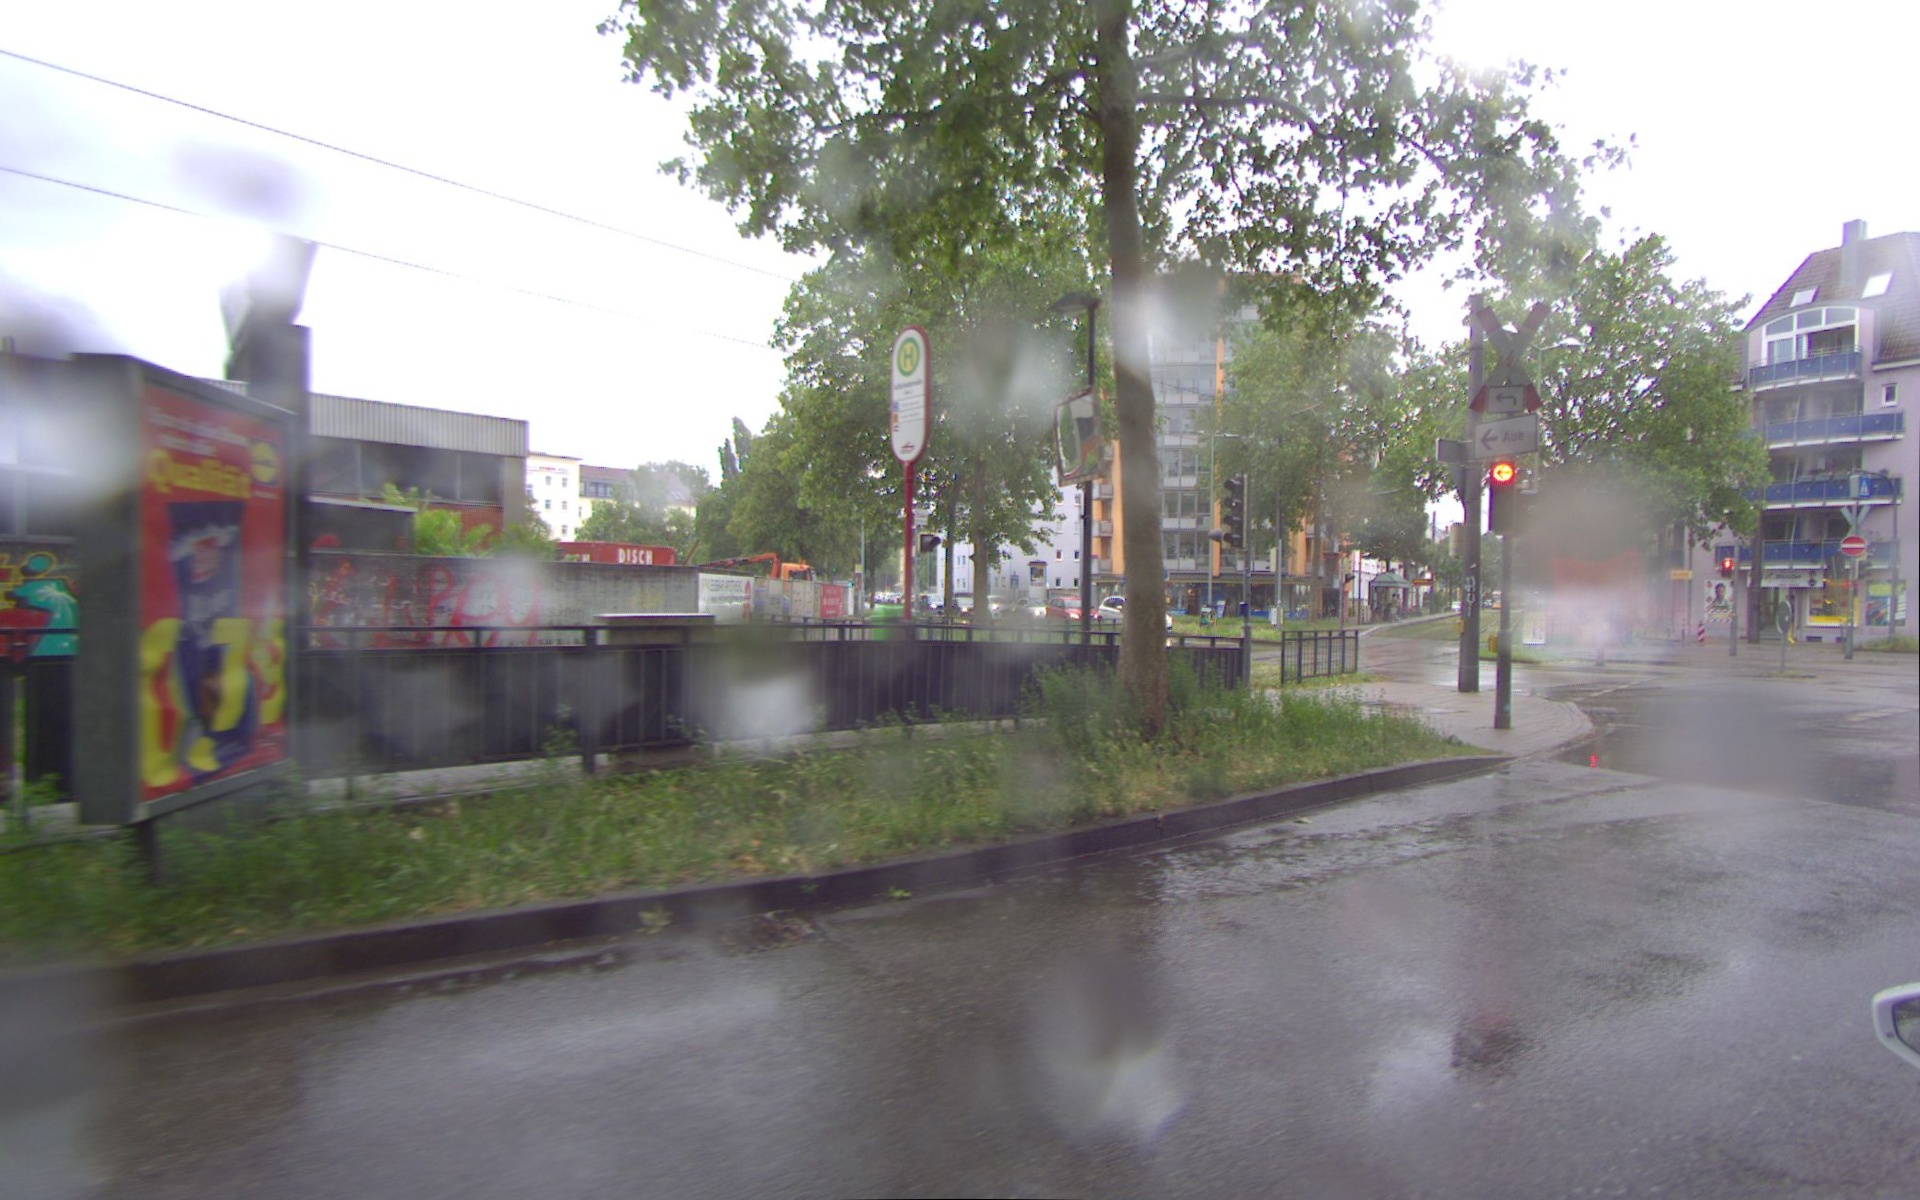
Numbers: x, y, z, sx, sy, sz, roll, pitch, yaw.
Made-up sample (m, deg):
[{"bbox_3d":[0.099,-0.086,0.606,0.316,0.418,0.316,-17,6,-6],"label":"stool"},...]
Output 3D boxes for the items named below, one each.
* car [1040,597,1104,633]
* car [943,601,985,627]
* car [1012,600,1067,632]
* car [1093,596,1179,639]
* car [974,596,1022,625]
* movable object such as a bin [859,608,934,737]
[{"bbox_3d":[5.299,0.719,47.964,1.697,1.661,3.780,0,-1,-17],"label":"car"},{"bbox_3d":[0.227,0.933,66.119,1.697,1.661,3.780,0,-1,-17],"label":"car"},{"bbox_3d":[4.207,0.841,53.695,1.697,1.661,3.780,0,-1,-17],"label":"car"},{"bbox_3d":[7.237,0.720,41.790,1.941,1.673,4.005,0,-1,-17],"label":"car"},{"bbox_3d":[2.218,0.660,59.753,1.697,1.661,3.780,0,-1,-17],"label":"car"},{"bbox_3d":[-0.563,0.627,8.951,0.412,1.104,0.528,-1,-1,44],"label":"movable object such as a bin"}]
